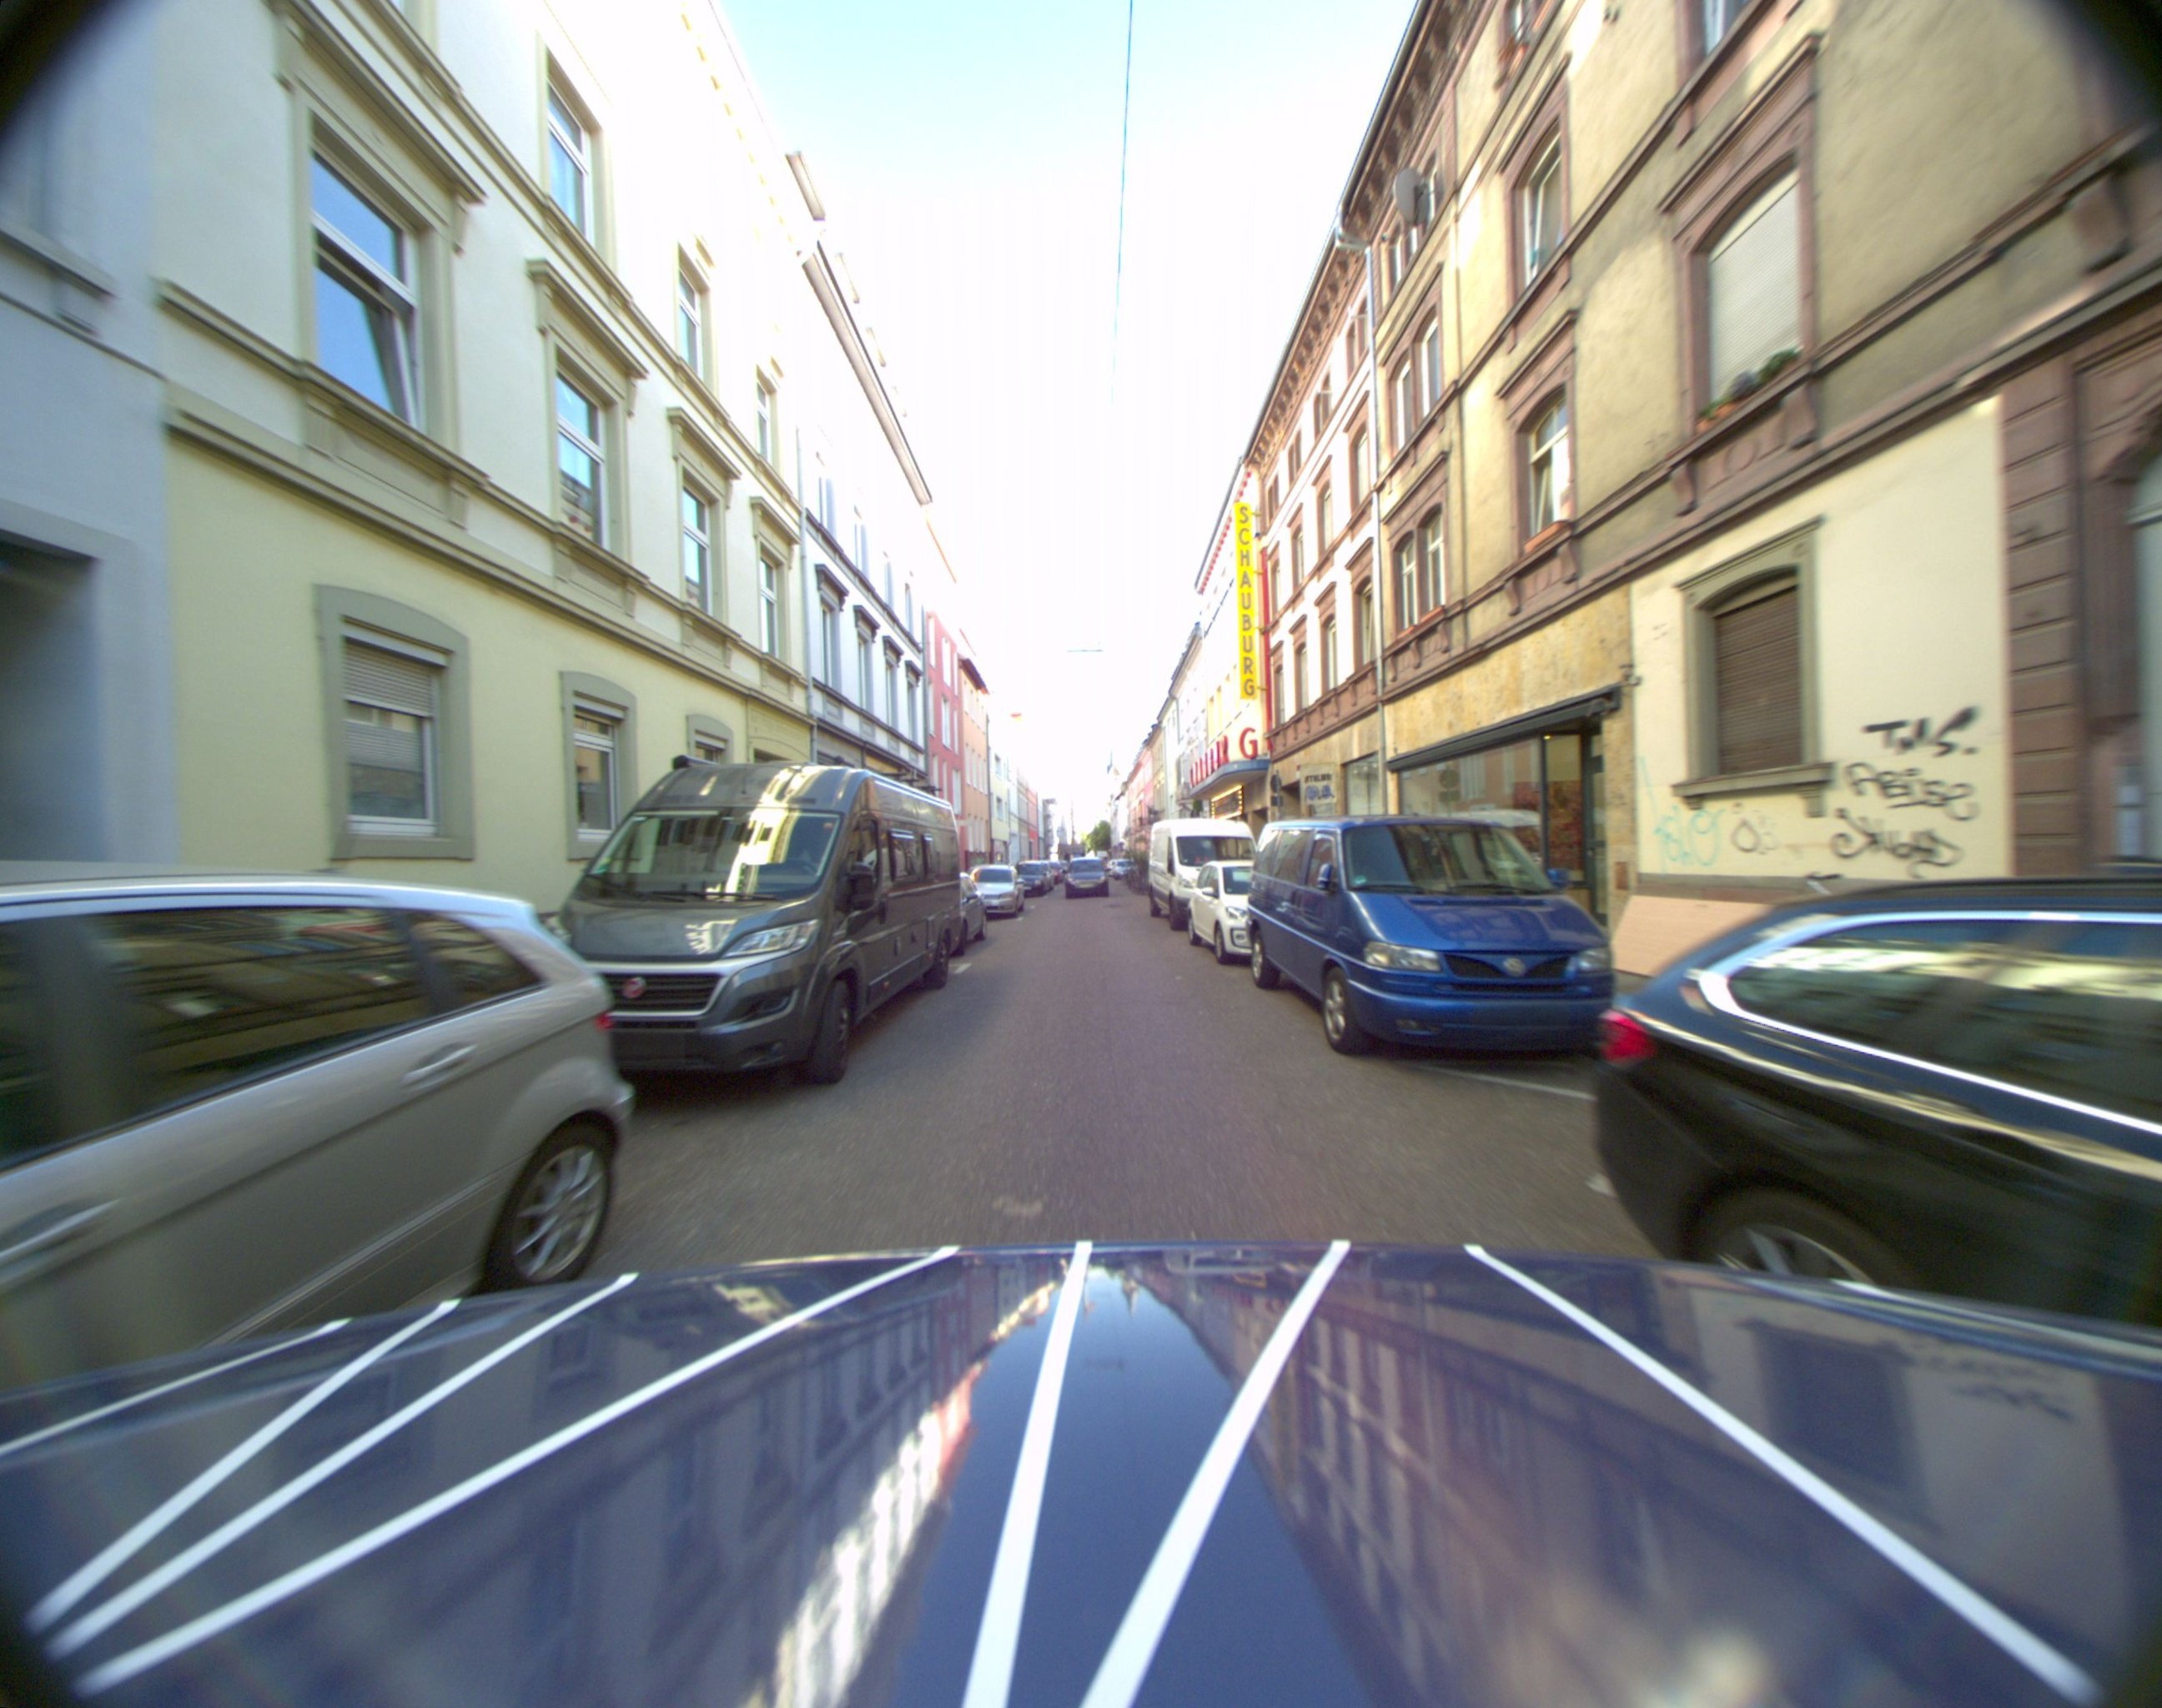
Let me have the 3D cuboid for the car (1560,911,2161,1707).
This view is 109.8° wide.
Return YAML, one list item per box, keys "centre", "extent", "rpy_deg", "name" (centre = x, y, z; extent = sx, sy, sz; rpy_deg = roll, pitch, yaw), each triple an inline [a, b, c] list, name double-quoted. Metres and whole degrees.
- centre: [2.616, 0.906, 0.276]
  extent: [1.867, 1.431, 4.645]
  rpy_deg: [-1, -1, -1]
  name: "car"

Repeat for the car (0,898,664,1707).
- centre: [-2.793, 1.003, 1.318]
  extent: [1.698, 1.598, 4.374]
  rpy_deg: [0, 0, 1]
  name: "car"

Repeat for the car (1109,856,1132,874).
- centre: [3.400, 0.914, 65.947]
  extent: [1.792, 1.454, 4.200]
  rpy_deg: [-1, 0, 0]
  name: "car"

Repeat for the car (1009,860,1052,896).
- centre: [-2.258, 1.068, 34.835]
  extent: [1.606, 1.530, 3.450]
  rpy_deg: [1, 0, 2]
  name: "car"

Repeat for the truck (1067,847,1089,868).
- centre: [-0.371, 0.462, 104.826]
  extent: [2.819, 2.735, 7.678]
  rpy_deg: [-4, 0, 0]
  name: "truck"

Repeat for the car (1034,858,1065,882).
- centre: [-2.034, 1.022, 50.040]
  extent: [1.701, 1.514, 3.981]
  rpy_deg: [0, 0, 2]
  name: "car"

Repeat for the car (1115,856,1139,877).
- centre: [3.412, 0.896, 55.437]
  extent: [1.684, 1.446, 4.035]
  rpy_deg: [-1, 0, 4]
  name: "car"

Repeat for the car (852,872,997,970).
- centre: [-2.762, 1.130, 14.339]
  extent: [1.752, 1.436, 4.172]
  rpy_deg: [-2, 0, 1]
  name: "car"

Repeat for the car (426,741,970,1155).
- centre: [-2.697, 0.555, 7.591]
  extent: [2.180, 2.411, 6.309]
  rpy_deg: [0, 0, 0]
  name: "car"

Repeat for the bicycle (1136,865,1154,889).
- centre: [3.009, 1.076, 35.956]
  extent: [0.547, 1.087, 1.881]
  rpy_deg: [-3, 0, -3]
  name: "bicycle"

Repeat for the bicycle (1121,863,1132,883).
- centre: [2.681, 1.093, 44.435]
  extent: [0.500, 1.099, 1.830]
  rpy_deg: [-3, 0, 1]
  name: "bicycle"

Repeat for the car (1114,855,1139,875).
- centre: [3.628, 0.855, 60.932]
  extent: [1.794, 1.443, 4.000]
  rpy_deg: [-1, 0, 0]
  name: "car"

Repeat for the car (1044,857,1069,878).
- centre: [-1.913, 1.027, 60.135]
  extent: [1.794, 1.542, 4.000]
  rpy_deg: [-1, 0, 1]
  name: "car"

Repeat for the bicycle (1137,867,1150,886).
- centre: [3.266, 1.177, 39.934]
  extent: [0.555, 0.938, 1.572]
  rpy_deg: [-2, 0, 2]
  name: "bicycle"

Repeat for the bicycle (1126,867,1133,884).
- centre: [2.739, 1.193, 42.838]
  extent: [0.322, 0.911, 1.290]
  rpy_deg: [-2, 0, 2]
  name: "bicycle"

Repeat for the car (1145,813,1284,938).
- centre: [2.867, 0.415, 17.841]
  extent: [2.173, 2.437, 5.921]
  rpy_deg: [0, 0, 0]
  name: "car"

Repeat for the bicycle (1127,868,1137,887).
- centre: [2.652, 1.218, 39.593]
  extent: [0.391, 0.911, 1.393]
  rpy_deg: [-2, 0, 2]
  name: "bicycle"

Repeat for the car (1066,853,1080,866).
- centre: [-0.943, 0.664, 96.227]
  extent: [1.644, 1.528, 3.842]
  rpy_deg: [-2, 0, 1]
  name: "car"

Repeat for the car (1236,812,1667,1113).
- centre: [2.814, 0.690, 7.128]
  extent: [1.832, 1.881, 4.614]
  rpy_deg: [1, 0, 1]
  name: "car"

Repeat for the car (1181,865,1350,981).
- centre: [2.691, 0.936, 11.942]
  extent: [1.649, 1.438, 3.839]
  rpy_deg: [-1, 0, -1]
  name: "car"

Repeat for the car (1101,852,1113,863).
- centre: [4.730, 0.670, 138.323]
  extent: [1.998, 2.002, 4.258]
  rpy_deg: [-1, 0, 1]
  name: "car"

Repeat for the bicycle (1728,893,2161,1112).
- centre: [5.591, 0.849, 5.086]
  extent: [0.757, 1.015, 2.029]
  rpy_deg: [-5, 0, 2]
  name: "bicycle"

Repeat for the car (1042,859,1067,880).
- centre: [-1.886, 1.091, 54.616]
  extent: [1.692, 1.444, 4.193]
  rpy_deg: [0, 0, 0]
  name: "car"

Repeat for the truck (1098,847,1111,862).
- centre: [5.139, 0.081, 166.965]
  extent: [2.524, 3.271, 6.643]
  rpy_deg: [-2, 0, 2]
  name: "truck"

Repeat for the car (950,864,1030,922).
- centre: [-2.579, 1.082, 22.585]
  extent: [1.791, 1.446, 4.547]
  rpy_deg: [1, 0, 0]
  name: "car"

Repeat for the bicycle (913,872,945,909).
- centre: [-4.935, 1.175, 24.766]
  extent: [0.712, 1.091, 1.900]
  rpy_deg: [1, 1, -1]
  name: "bicycle"

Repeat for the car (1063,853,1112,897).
- centre: [0.270, 0.813, 31.090]
  extent: [1.832, 1.650, 4.213]
  rpy_deg: [-1, 0, 1]
  name: "car"

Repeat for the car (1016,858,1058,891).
- centre: [-2.223, 1.033, 39.583]
  extent: [1.750, 1.547, 4.172]
  rpy_deg: [-2, 0, 2]
  name: "car"

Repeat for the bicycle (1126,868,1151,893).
- centre: [2.438, 1.119, 32.433]
  extent: [0.462, 1.041, 1.748]
  rpy_deg: [-3, 0, -15]
  name: "bicycle"
